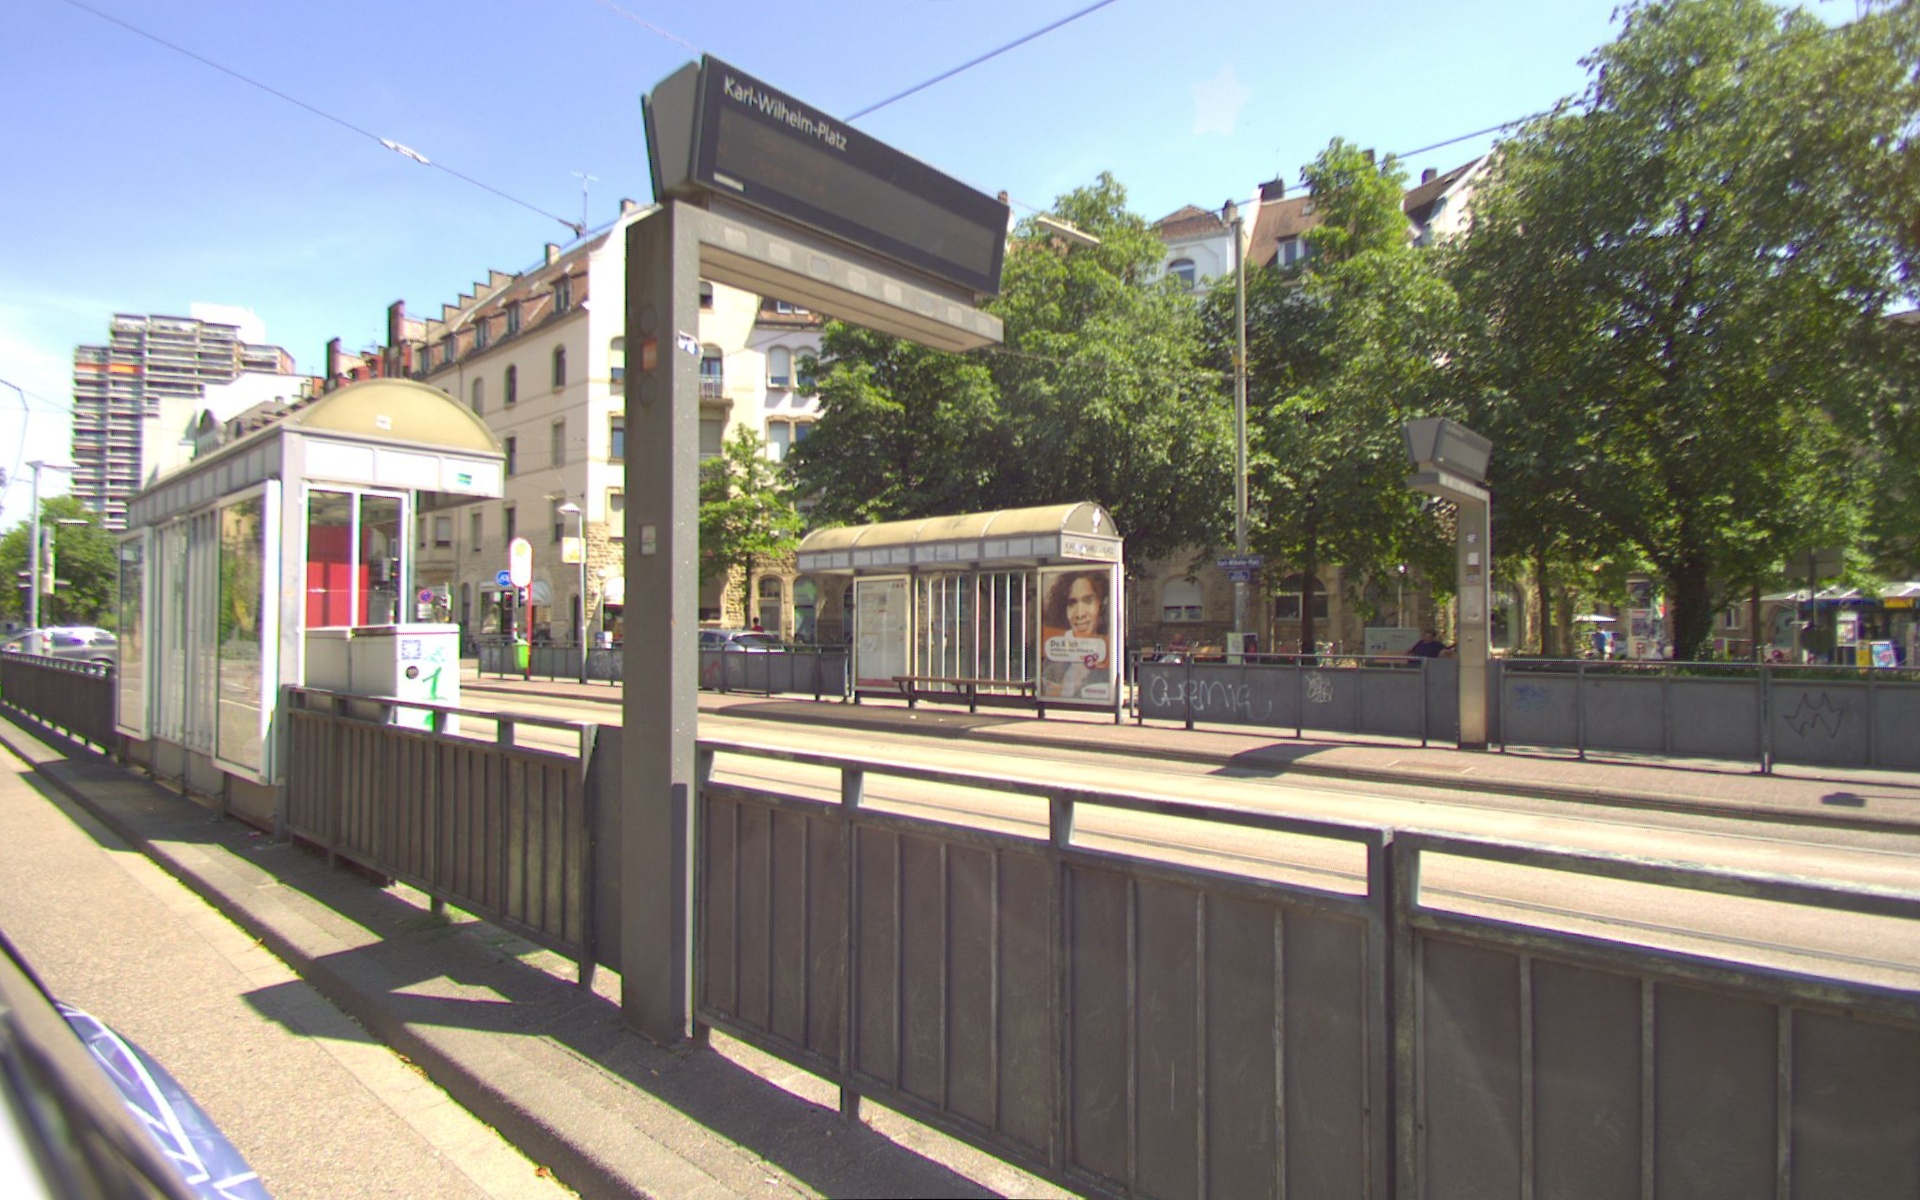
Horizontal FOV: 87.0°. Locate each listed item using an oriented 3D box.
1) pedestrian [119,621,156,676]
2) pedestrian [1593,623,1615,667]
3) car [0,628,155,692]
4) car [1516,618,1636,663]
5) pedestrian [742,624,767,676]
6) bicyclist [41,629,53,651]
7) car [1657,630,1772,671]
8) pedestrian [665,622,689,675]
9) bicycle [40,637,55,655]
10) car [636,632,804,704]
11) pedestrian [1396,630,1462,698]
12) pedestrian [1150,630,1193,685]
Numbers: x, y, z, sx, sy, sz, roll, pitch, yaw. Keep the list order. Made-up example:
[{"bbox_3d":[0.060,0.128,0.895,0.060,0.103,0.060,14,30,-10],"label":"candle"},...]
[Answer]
[{"bbox_3d":[-27.647,1.623,34.031,0.673,1.838,0.827,-2,-3,41],"label":"pedestrian"},{"bbox_3d":[24.871,1.746,39.101,0.483,1.683,0.517,1,-2,-27],"label":"pedestrian"},{"bbox_3d":[-24.463,1.568,26.588,1.938,1.493,4.965,-1,0,42],"label":"car"},{"bbox_3d":[26.718,1.712,44.002,1.966,1.803,4.011,-1,0,-33],"label":"car"},{"bbox_3d":[-6.309,1.527,31.111,0.473,1.563,0.586,-2,-3,39],"label":"pedestrian"},{"bbox_3d":[-80.718,3.522,89.483,0.715,1.889,0.636,-1,0,39],"label":"bicyclist"},{"bbox_3d":[35.788,2.357,48.095,1.736,1.721,3.998,-1,0,-33],"label":"car"},{"bbox_3d":[-8.973,1.546,32.078,0.474,1.659,0.586,-2,-3,45],"label":"pedestrian"},{"bbox_3d":[-80.710,4.084,89.492,1.969,1.524,0.636,-1,0,39],"label":"bicycle"},{"bbox_3d":[-5.598,1.496,23.354,3.998,1.404,1.789,-1,0,41],"label":"car"},{"bbox_3d":[9.282,1.245,20.033,0.852,1.253,0.939,-1,0,-43],"label":"pedestrian"},{"bbox_3d":[5.093,1.362,24.308,0.930,1.253,0.860,-1,0,17],"label":"pedestrian"}]
